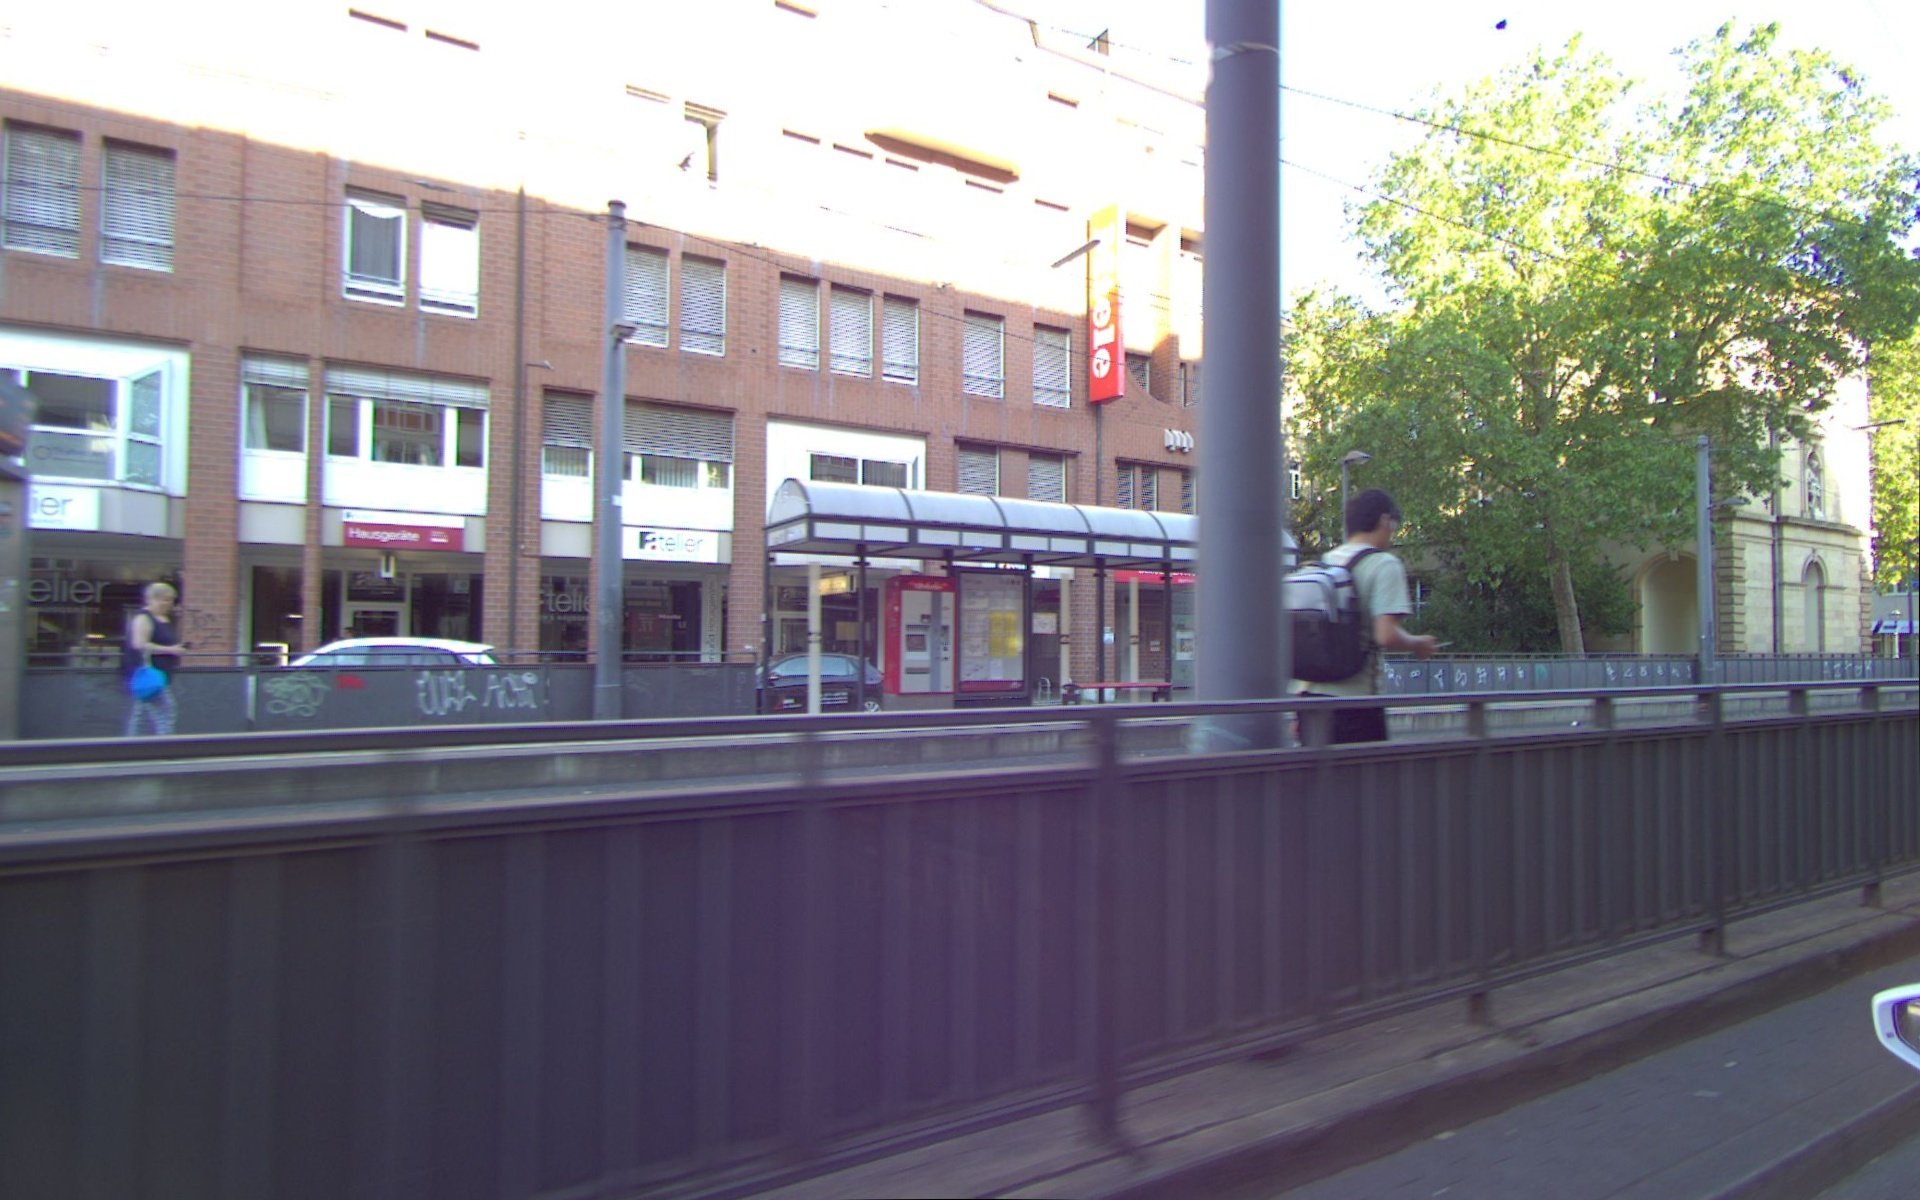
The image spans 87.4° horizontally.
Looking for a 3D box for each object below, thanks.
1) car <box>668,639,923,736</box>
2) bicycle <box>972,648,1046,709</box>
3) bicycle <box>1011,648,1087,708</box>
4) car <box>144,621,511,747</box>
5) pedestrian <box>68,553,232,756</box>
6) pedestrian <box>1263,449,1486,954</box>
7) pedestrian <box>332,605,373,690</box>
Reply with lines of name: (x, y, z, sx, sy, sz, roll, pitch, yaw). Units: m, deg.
car: (-3.002, 1.616, 18.547, 4.239, 1.614, 1.902, 4, -4, -29)
bicycle: (1.182, 1.933, 25.127, 0.828, 1.299, 2.604, 2, 0, -21)
bicycle: (2.224, 1.960, 25.559, 0.828, 1.299, 2.604, 2, 0, -21)
car: (-9.033, 1.243, 14.779, 4.239, 1.614, 1.902, 4, -4, -29)
pedestrian: (-7.201, 0.480, 8.999, 0.956, 1.683, 0.907, 2, -2, -30)
pedestrian: (1.657, 0.377, 4.030, 0.599, 1.815, 0.580, 2, -2, -31)
pedestrian: (-12.285, 0.956, 20.303, 0.631, 1.683, 0.607, 2, -2, -35)
